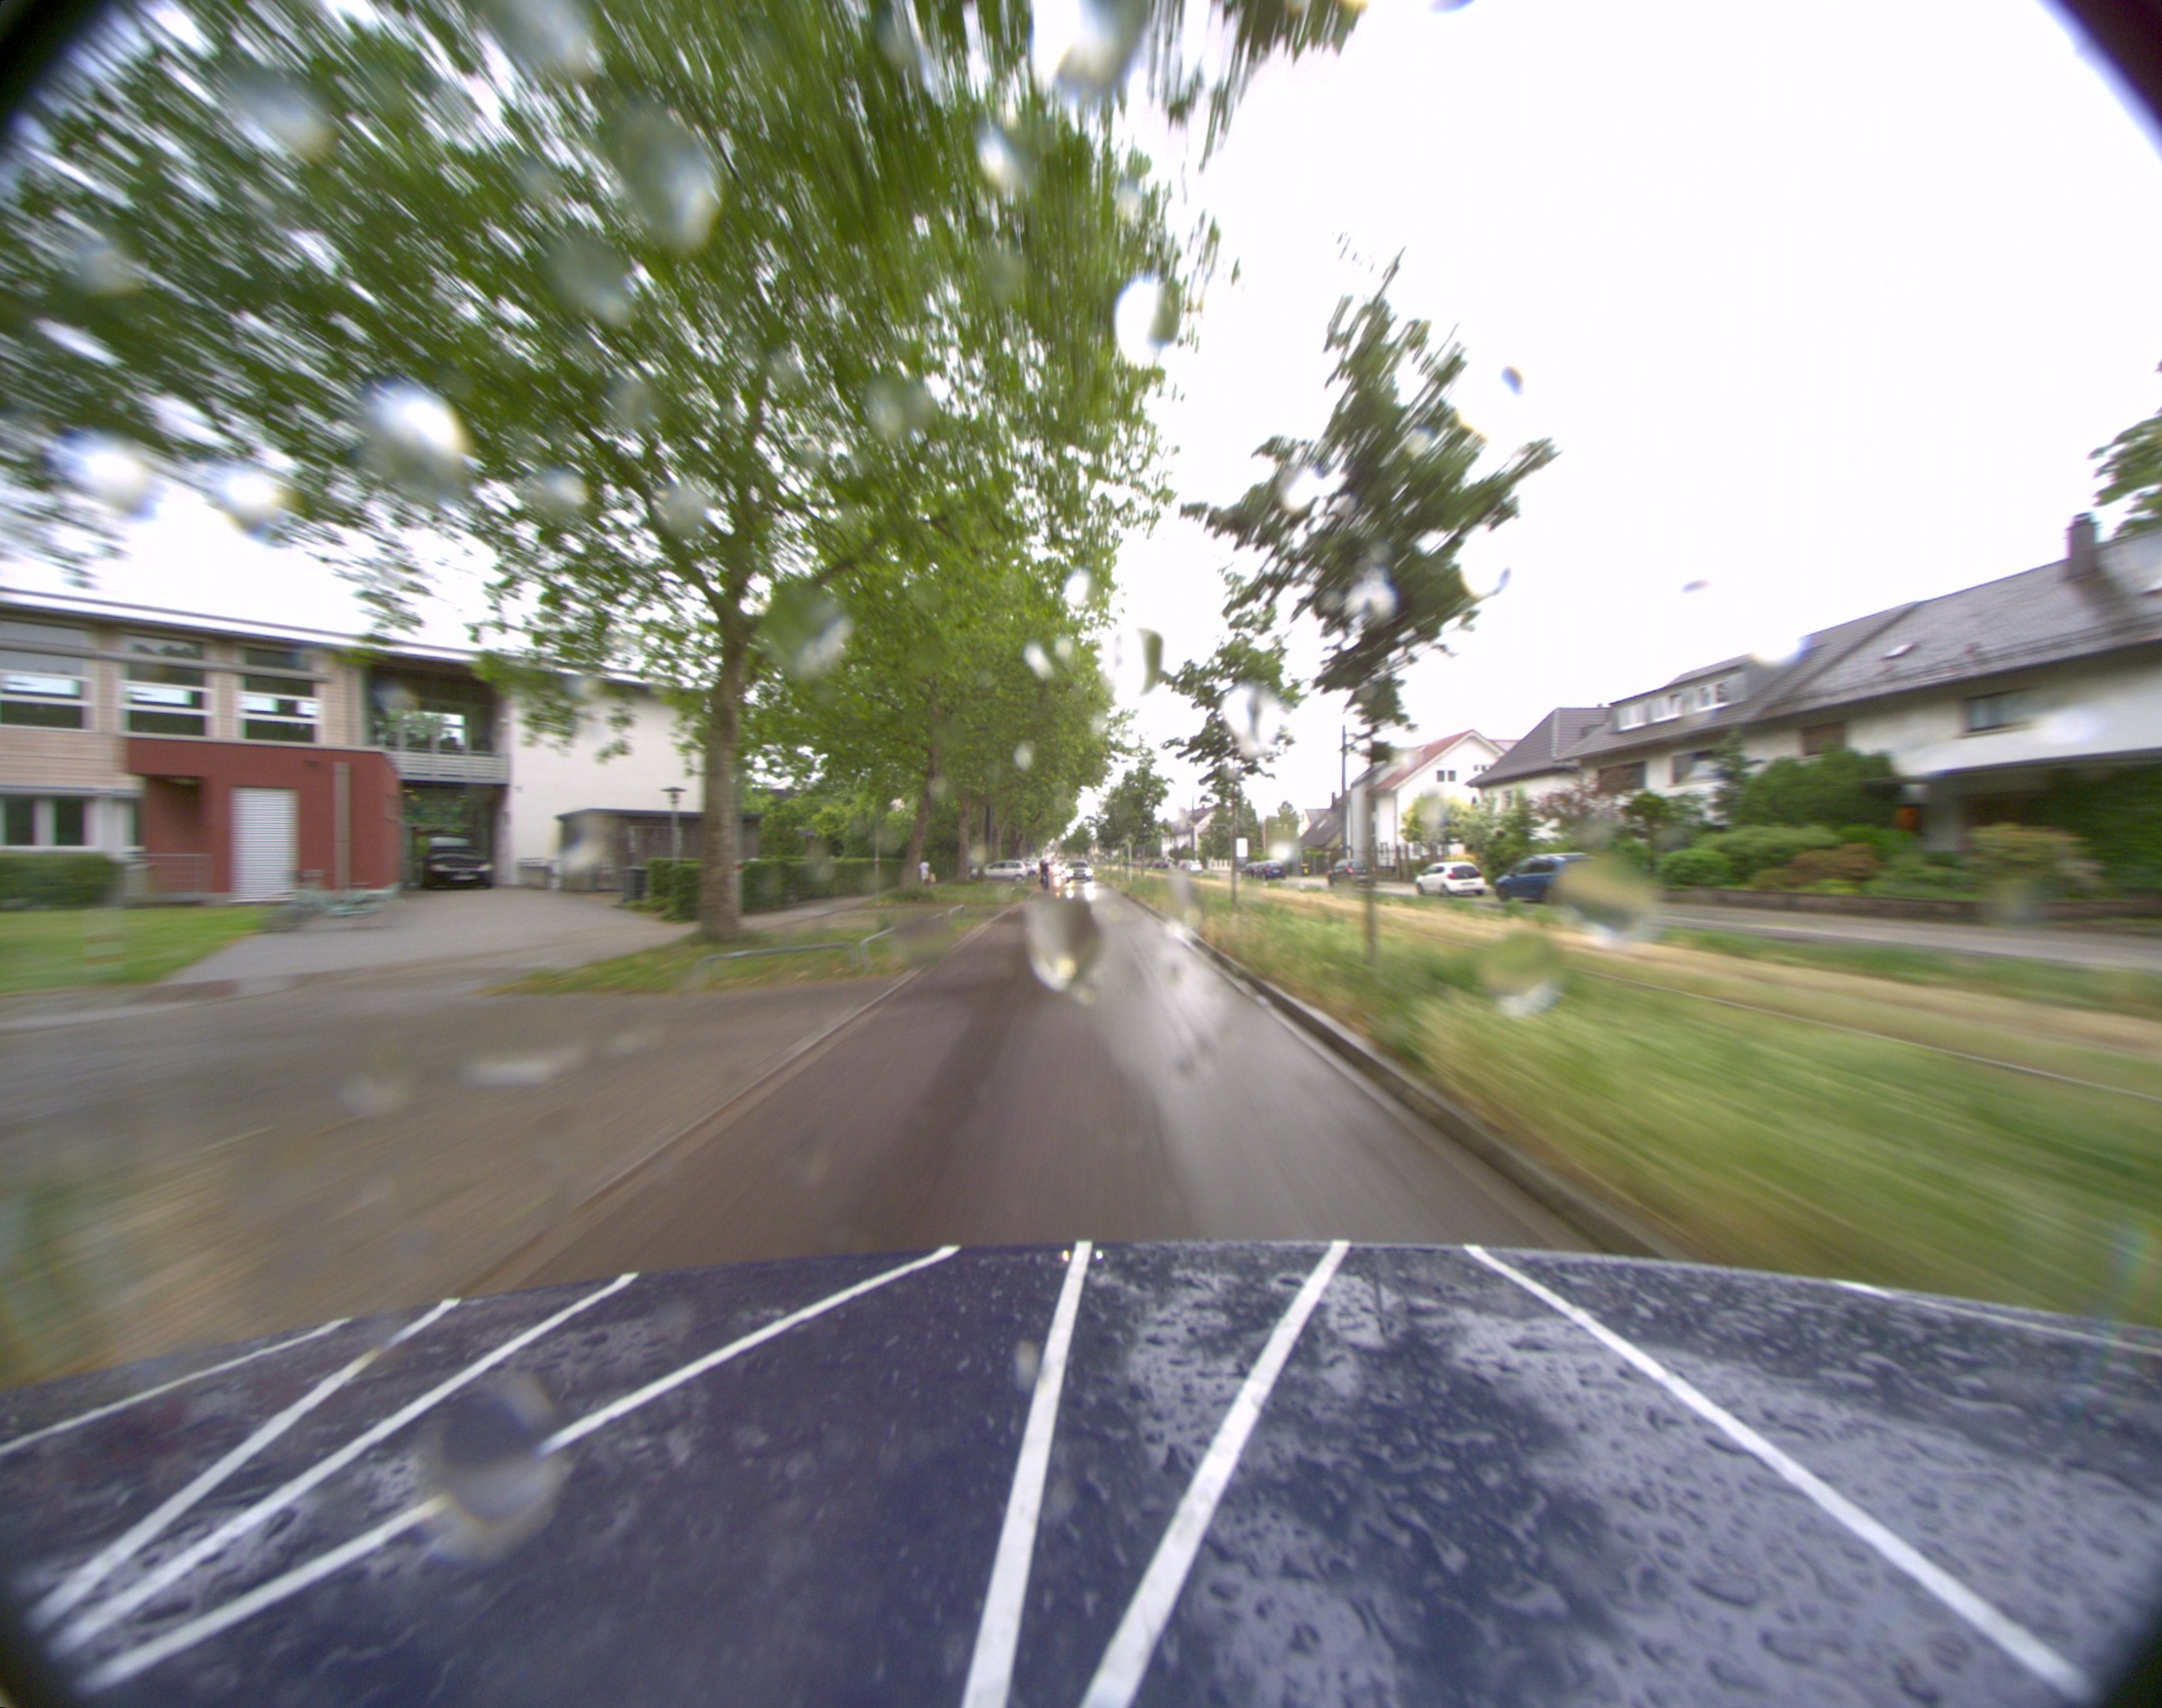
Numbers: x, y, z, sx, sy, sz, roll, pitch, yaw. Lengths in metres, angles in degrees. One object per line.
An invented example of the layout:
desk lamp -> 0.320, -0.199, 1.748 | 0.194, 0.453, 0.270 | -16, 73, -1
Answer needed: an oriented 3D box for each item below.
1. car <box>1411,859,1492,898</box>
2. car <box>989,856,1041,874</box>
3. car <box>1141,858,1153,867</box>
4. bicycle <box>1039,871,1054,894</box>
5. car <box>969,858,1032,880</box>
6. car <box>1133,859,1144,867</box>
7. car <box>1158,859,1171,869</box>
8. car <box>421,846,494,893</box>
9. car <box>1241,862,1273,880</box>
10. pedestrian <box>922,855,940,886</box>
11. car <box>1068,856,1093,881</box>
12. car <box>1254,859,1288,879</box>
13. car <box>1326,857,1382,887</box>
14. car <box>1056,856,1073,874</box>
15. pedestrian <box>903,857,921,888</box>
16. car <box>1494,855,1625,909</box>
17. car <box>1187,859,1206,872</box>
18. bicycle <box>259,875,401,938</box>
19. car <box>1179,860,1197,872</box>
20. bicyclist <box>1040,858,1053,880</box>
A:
car -> 16.294, 1.049, 33.619 | 1.718, 1.520, 3.601 | -3, 0, 0
car -> -5.497, 0.901, 63.206 | 4.020, 1.478, 1.636 | 0, 0, -19
car -> 12.531, 1.629, 144.502 | 1.759, 1.507, 3.854 | -3, 0, 0
bicycle -> -1.671, 1.363, 36.844 | 0.659, 1.008, 2.256 | 0, 1, -1
car -> -5.513, 1.026, 51.838 | 4.020, 1.478, 1.636 | 0, 0, -19
car -> 11.802, 1.750, 156.287 | 1.759, 1.507, 3.854 | -3, 0, 0
car -> 13.532, 1.555, 123.449 | 1.759, 1.507, 3.854 | -3, 0, 0
car -> -20.911, 0.469, 25.589 | 1.753, 1.443, 3.572 | -2, 1, -38
car -> 15.451, 1.470, 66.940 | 1.893, 1.490, 4.000 | 0, 0, 1
pedestrian -> -7.474, 0.831, 37.845 | 0.749, 1.529, 0.584 | 0, 0, -29
car -> -0.034, 1.044, 56.516 | 1.767, 1.714, 3.935 | -2, -1, 0
car -> 15.604, 1.214, 62.545 | 1.759, 1.507, 3.854 | -3, 0, 0
car -> 16.093, 1.045, 45.003 | 1.759, 1.604, 4.111 | -3, 0, 0
car -> -1.695, 1.132, 79.512 | 1.767, 1.715, 3.934 | -1, 0, -1
pedestrian -> -8.232, 0.896, 36.946 | 0.748, 1.529, 0.585 | 0, 0, -1
car -> 16.506, 0.907, 26.507 | 1.849, 1.696, 4.182 | -2, 0, -1
car -> 14.578, 1.484, 96.274 | 1.759, 1.507, 3.854 | -3, 0, 0
bicycle -> -14.539, 0.977, 14.763 | 0.520, 1.115, 1.942 | 3, 1, 43
car -> 14.203, 1.565, 100.830 | 1.759, 1.507, 3.854 | -3, 0, 0
bicyclist -> -1.674, 0.724, 36.860 | 0.622, 1.078, 0.624 | 0, 1, -1
